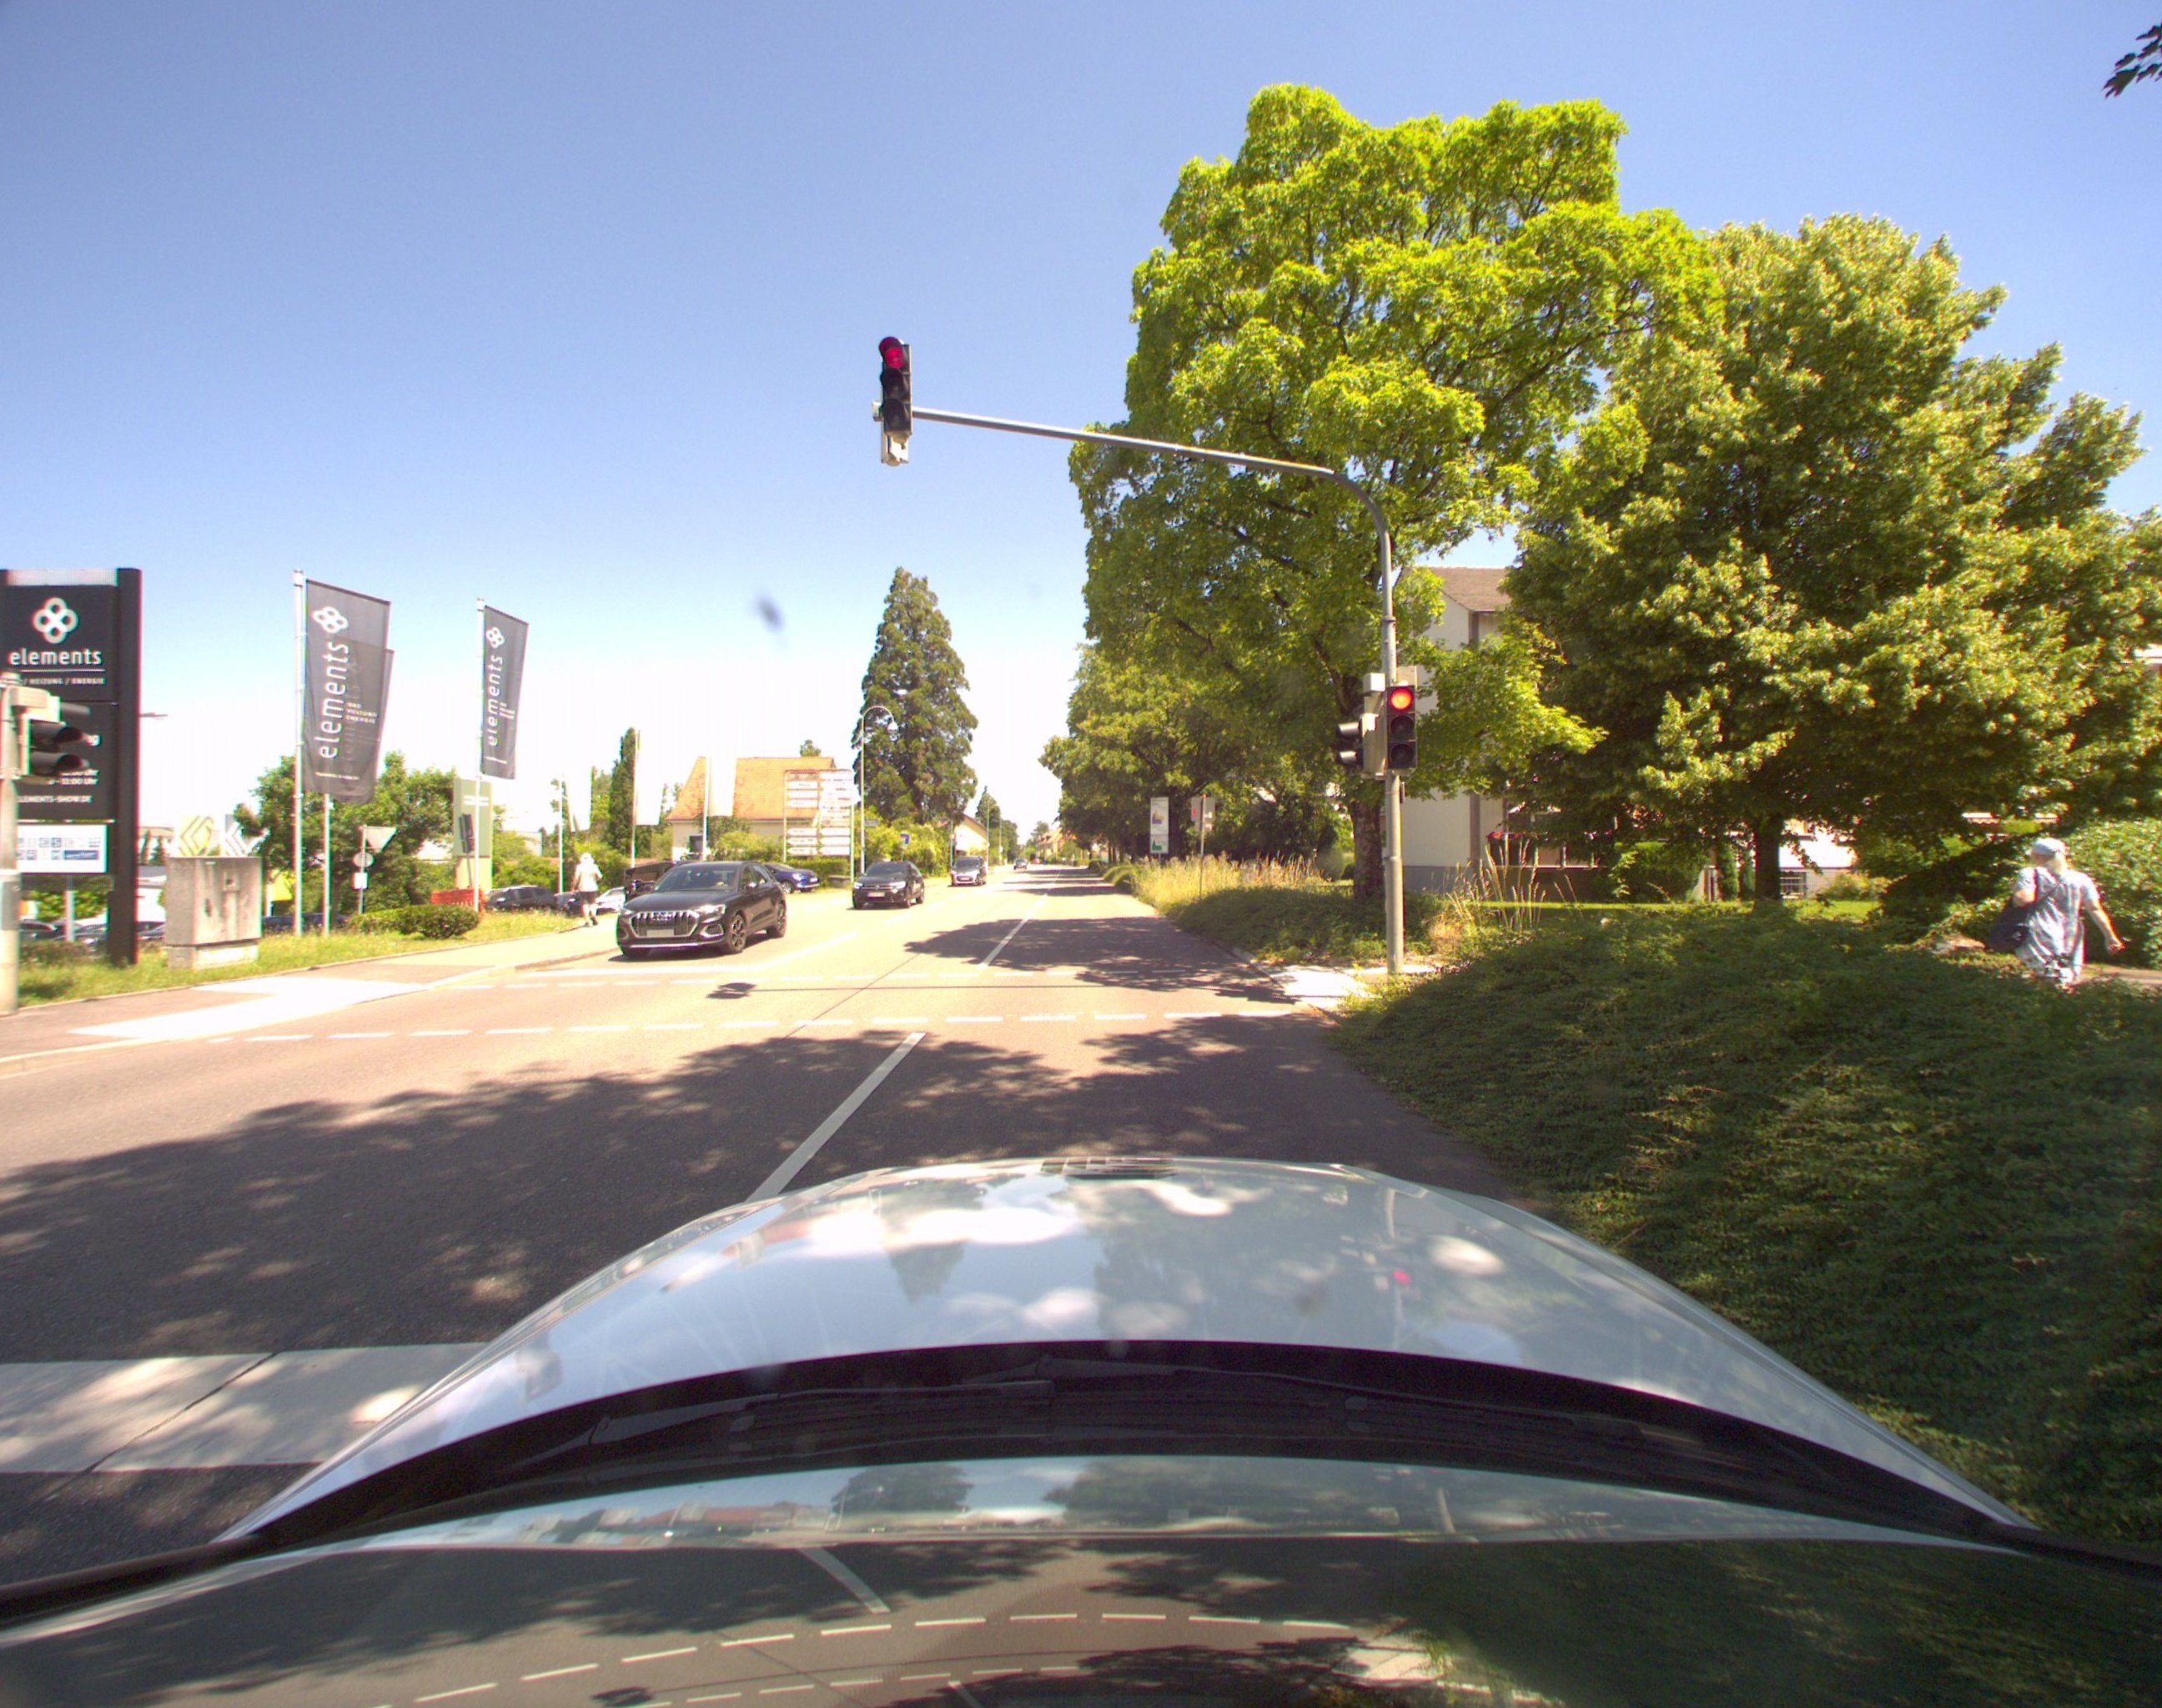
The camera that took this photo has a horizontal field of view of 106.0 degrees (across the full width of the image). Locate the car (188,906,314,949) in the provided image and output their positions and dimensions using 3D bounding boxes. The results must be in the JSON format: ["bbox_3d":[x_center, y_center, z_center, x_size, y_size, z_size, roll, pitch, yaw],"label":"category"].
[{"bbox_3d":[-34.397,3.002,33.898,1.647,1.415,3.856,-1,0,-9],"label":"car"}]

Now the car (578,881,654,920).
[{"bbox_3d":[-23.396,2.289,41.157,1.806,1.722,4.081,0,0,-6],"label":"car"}]

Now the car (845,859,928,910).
[{"bbox_3d":[-6.287,0.939,26.803,1.864,1.507,4.049,-1,0,-2],"label":"car"}]

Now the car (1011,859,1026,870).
[{"bbox_3d":[-8.939,1.496,117.172,1.788,1.536,4.313,-1,0,-1],"label":"car"}]

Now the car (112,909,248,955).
[{"bbox_3d":[-37.254,3.179,33.842,1.754,1.486,3.983,-1,0,-12],"label":"car"}]

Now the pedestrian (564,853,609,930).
[{"bbox_3d":[-11.549,0.854,19.032,0.538,1.761,0.706,-1,-1,28],"label":"pedestrian"}]

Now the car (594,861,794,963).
[{"bbox_3d":[-6.880,0.933,15.050,1.923,1.555,4.295,-1,0,-5],"label":"car"}]

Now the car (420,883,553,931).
[{"bbox_3d":[-24.058,2.097,33.133,1.795,1.722,4.106,-1,0,16],"label":"car"}]

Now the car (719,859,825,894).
[{"bbox_3d":[-13.909,1.004,36.716,4.109,1.504,1.782,-1,0,10],"label":"car"}]

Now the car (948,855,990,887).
[{"bbox_3d":[-6.657,0.982,48.872,1.804,1.762,4.571,-1,0,1],"label":"car"}]

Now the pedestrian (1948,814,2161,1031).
[{"bbox_3d":[7.884,0.521,6.633,0.717,1.633,0.849,-1,-1,-7],"label":"pedestrian"}]

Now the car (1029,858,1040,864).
[{"bbox_3d":[-12.322,1.830,216.663,1.948,1.359,4.438,-1,0,-16],"label":"car"}]

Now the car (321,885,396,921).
[{"bbox_3d":[-39.613,2.653,44.779,1.816,1.722,4.059,0,0,-22],"label":"car"}]
